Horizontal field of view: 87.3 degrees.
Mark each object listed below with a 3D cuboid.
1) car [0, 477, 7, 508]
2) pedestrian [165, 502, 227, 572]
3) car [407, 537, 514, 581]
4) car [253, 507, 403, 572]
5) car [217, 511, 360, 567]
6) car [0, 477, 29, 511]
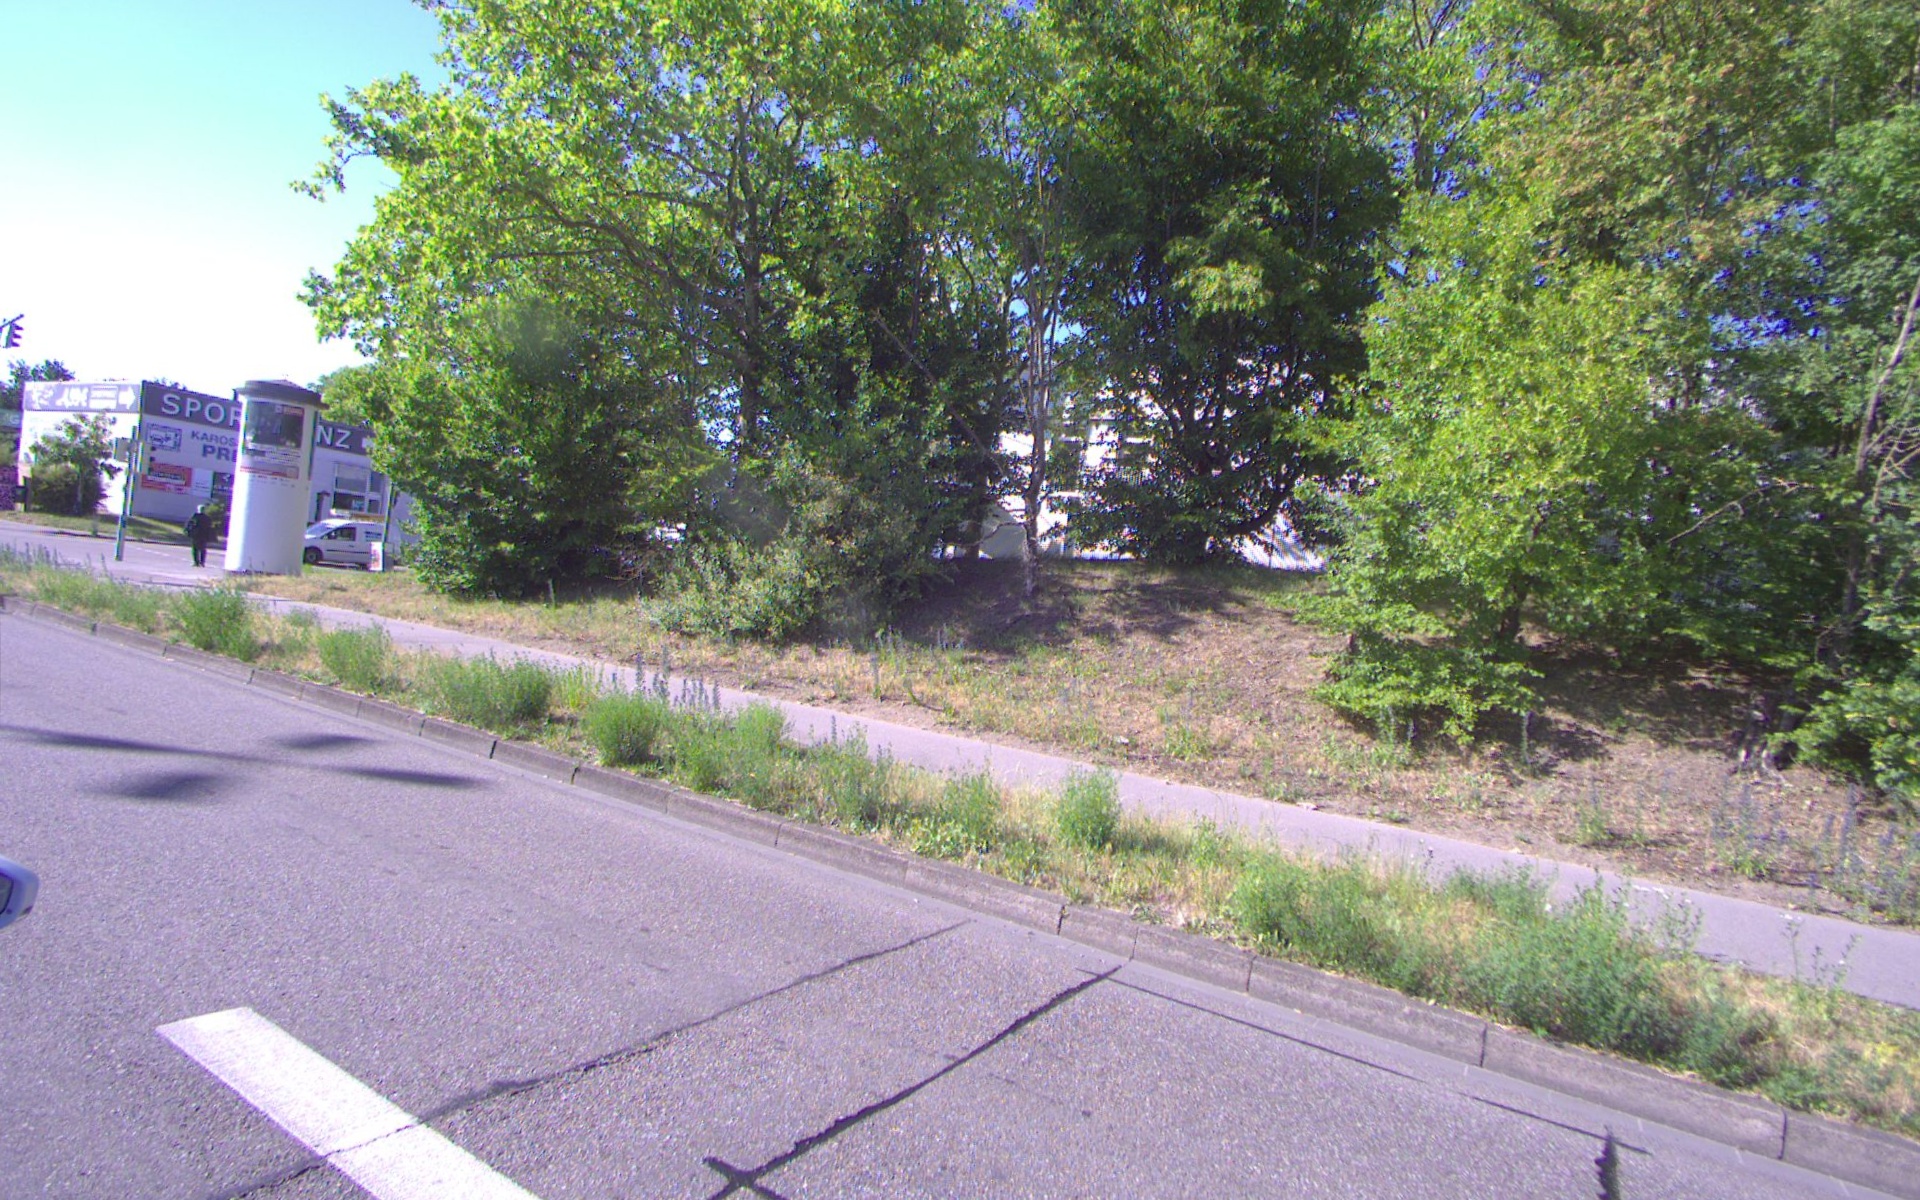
[{"bbox_3d":[-49.236,-5.496,48.476,1.828,1.472,4.490,7,1,33],"label":"car"},{"bbox_3d":[-21.240,-1.756,27.980,0.923,1.755,0.927,6,-1,31],"label":"pedestrian"},{"bbox_3d":[-22.897,-1.859,46.282,1.752,1.509,4.046,7,1,30],"label":"car"},{"bbox_3d":[-23.883,-2.256,38.191,1.735,1.824,4.387,9,1,30],"label":"car"},{"bbox_3d":[-26.617,-2.382,40.024,1.735,1.568,4.292,9,1,30],"label":"car"},{"bbox_3d":[-46.884,-5.229,47.106,1.828,1.472,4.490,7,1,33],"label":"car"}]
